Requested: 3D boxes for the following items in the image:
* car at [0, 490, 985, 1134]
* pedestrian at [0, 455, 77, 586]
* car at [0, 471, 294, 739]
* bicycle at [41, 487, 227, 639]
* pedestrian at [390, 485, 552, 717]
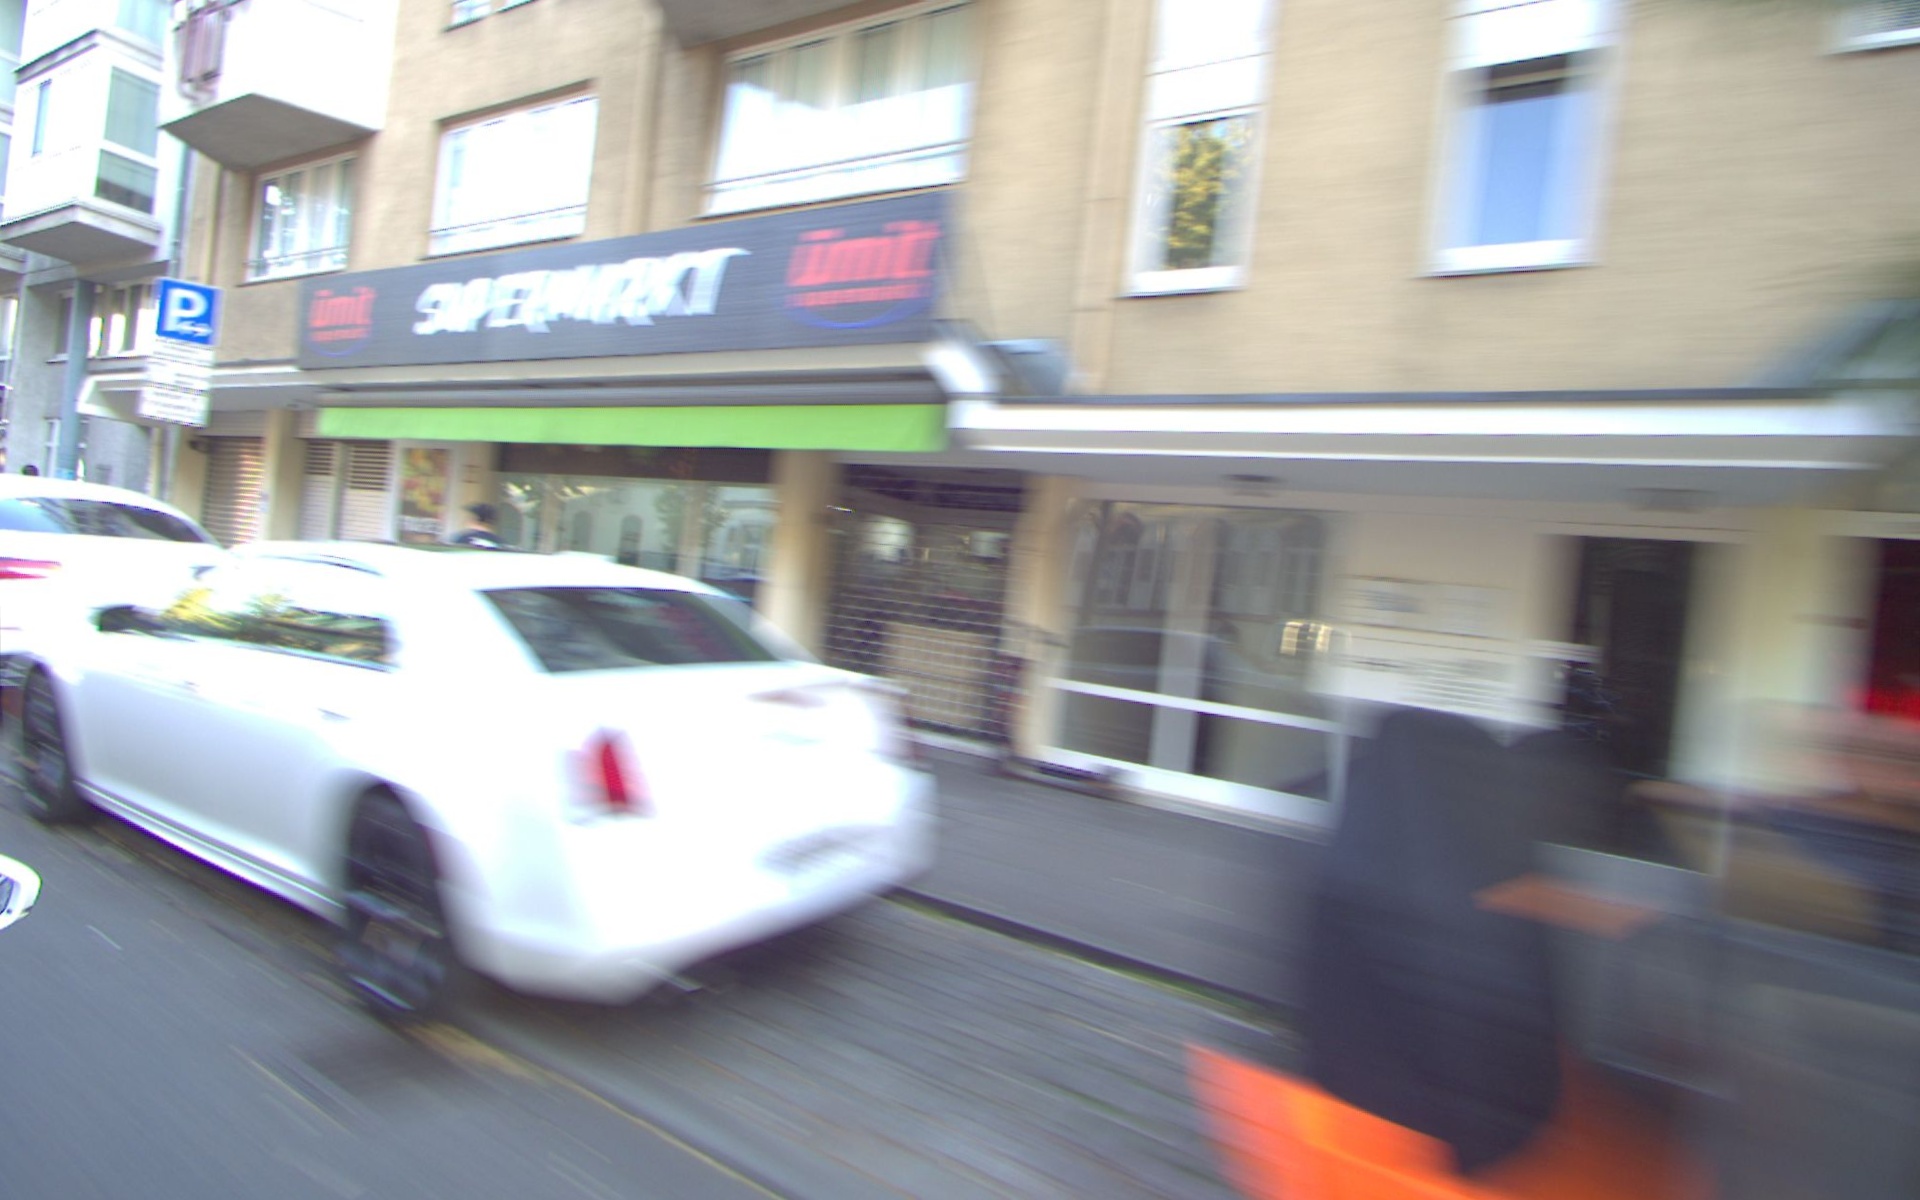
[{"bbox_3d":[-2.600,0.435,4.723,5.103,1.500,1.842,7,2,32],"label":"car"},{"bbox_3d":[-13.983,-1.191,14.981,0.979,1.817,0.857,7,1,28],"label":"pedestrian"},{"bbox_3d":[-7.313,-0.162,7.725,4.614,1.595,1.880,7,2,32],"label":"car"},{"bbox_3d":[-8.107,-0.377,9.848,2.017,1.279,0.775,7,2,32],"label":"bicycle"},{"bbox_3d":[-3.901,0.011,8.047,0.689,1.726,0.788,7,2,31],"label":"pedestrian"}]
